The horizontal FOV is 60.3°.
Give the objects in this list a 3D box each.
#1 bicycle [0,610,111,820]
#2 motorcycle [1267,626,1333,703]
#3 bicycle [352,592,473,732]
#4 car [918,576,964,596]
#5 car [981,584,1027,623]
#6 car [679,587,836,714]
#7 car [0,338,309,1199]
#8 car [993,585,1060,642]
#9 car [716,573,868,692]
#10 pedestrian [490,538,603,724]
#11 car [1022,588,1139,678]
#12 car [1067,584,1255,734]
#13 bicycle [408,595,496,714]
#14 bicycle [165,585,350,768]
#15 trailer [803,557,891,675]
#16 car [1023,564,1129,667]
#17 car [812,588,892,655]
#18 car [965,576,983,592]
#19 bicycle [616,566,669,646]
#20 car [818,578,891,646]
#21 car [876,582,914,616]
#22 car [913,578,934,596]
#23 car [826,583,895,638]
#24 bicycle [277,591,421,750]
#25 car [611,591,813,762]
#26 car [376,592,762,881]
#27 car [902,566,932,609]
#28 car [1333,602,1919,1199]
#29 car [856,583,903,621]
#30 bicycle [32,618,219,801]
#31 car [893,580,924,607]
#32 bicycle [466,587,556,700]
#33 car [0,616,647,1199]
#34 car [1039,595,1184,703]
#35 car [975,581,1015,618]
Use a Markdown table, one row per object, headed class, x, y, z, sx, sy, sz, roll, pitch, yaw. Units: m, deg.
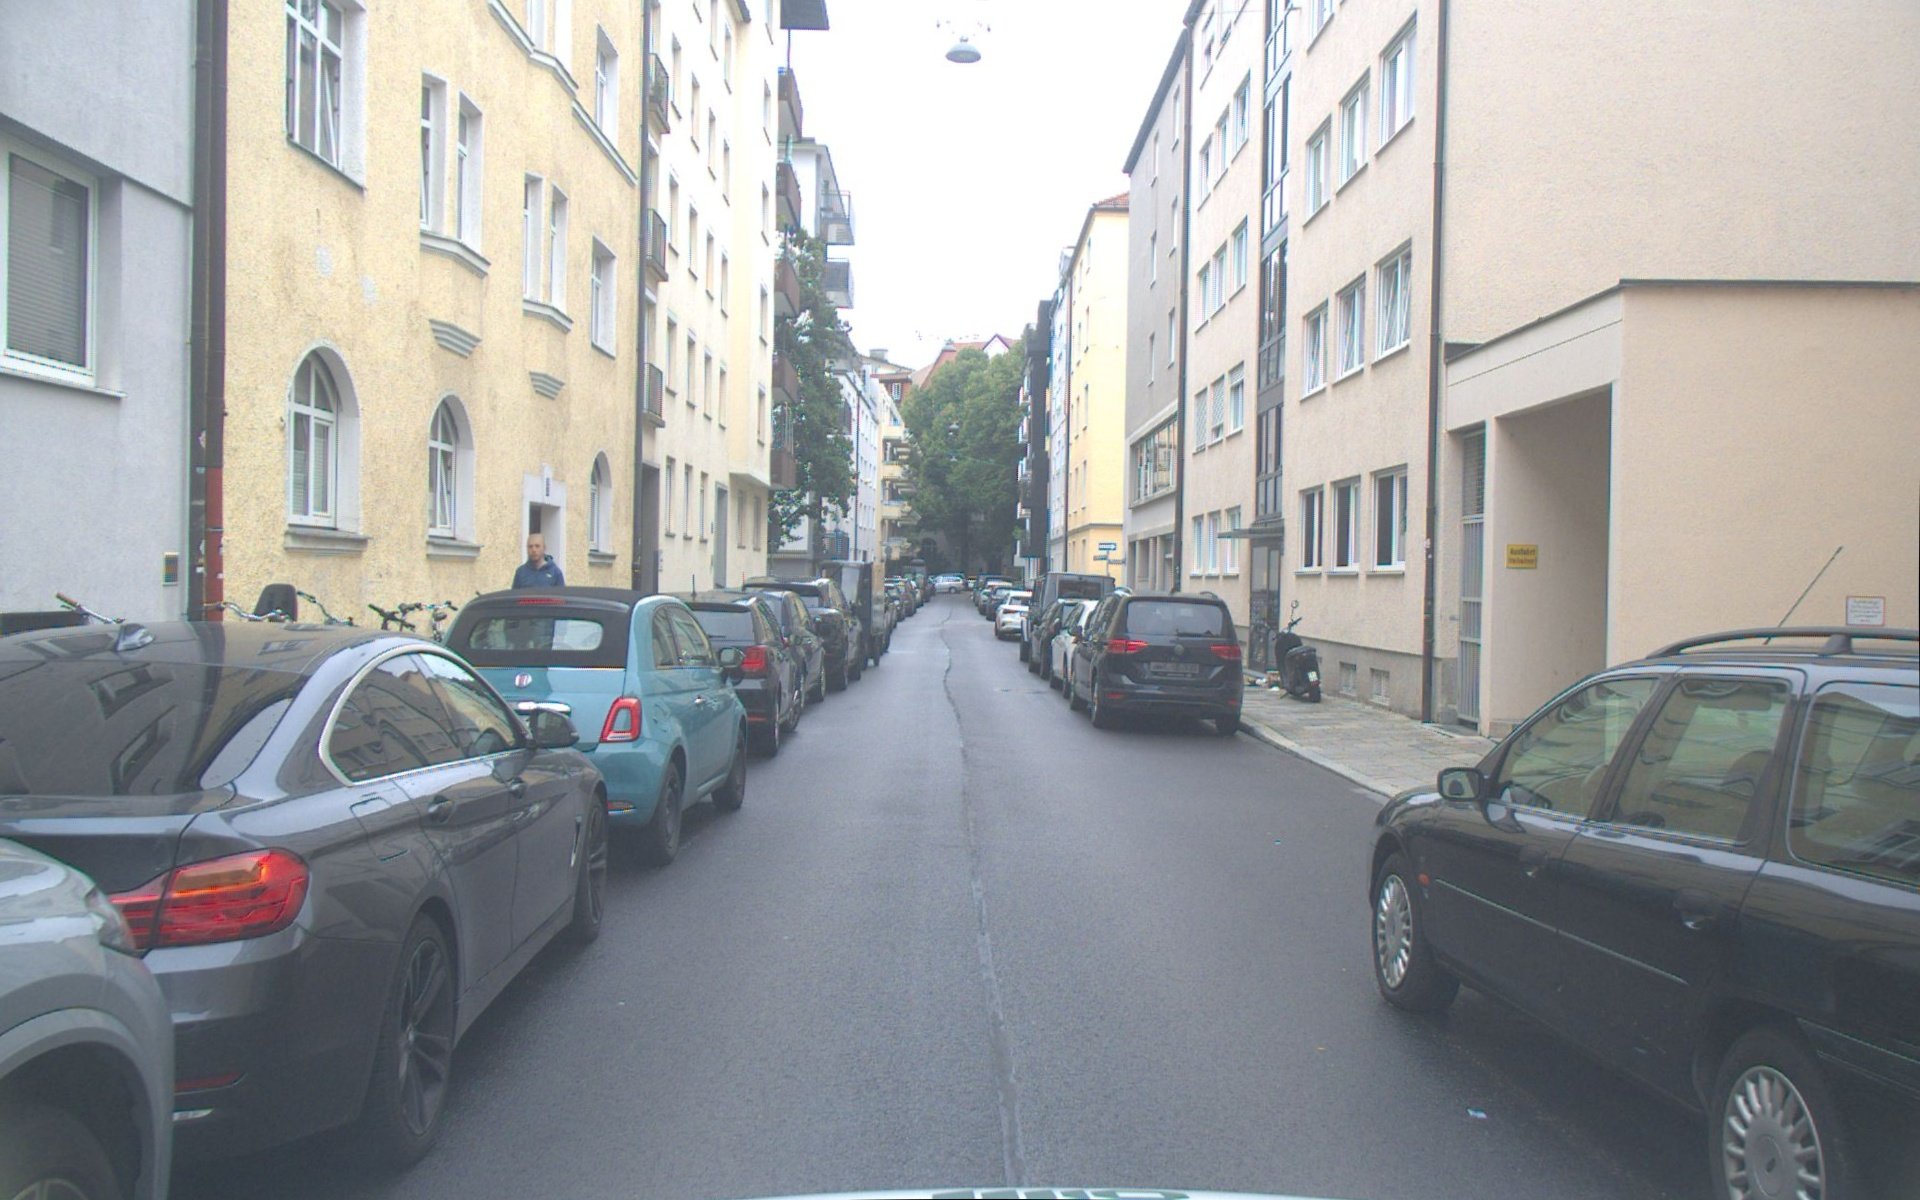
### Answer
| class | x | y | z | sx | sy | sz | roll | pitch | yaw |
| --- | --- | --- | --- | --- | --- | --- | --- | --- | --- |
| bicycle | -5.175 | 0.593 | 8.759 | 0.534 | 1.049 | 1.570 | 2 | 0 | -1 |
| motorcycle | 4.805 | 0.894 | 23.461 | 0.472 | 0.984 | 1.911 | -2 | 0 | -1 |
| bicycle | -5.253 | 0.563 | 15.972 | 0.581 | 1.255 | 1.736 | 2 | 0 | -1 |
| car | -1.621 | -1.217 | 141.213 | 3.807 | 1.612 | 1.647 | -1 | 1 | -2 |
| car | 1.880 | 0.125 | 71.193 | 1.715 | 1.494 | 4.342 | 4 | 1 | -1 |
| car | -2.529 | 0.587 | 21.317 | 1.530 | 1.486 | 3.476 | 1 | 0 | 1 |
| car | -2.092 | 0.600 | 0.788 | 1.825 | 1.800 | 4.734 | -1 | 1 | -2 |
| car | 2.003 | 0.380 | 51.097 | 1.782 | 1.432 | 3.952 | 2 | 3 | -1 |
| car | -2.517 | 0.448 | 25.767 | 1.840 | 1.689 | 4.415 | 1 | 0 | 1 |
| pedestrian | -4.172 | 0.303 | 16.773 | 0.822 | 1.795 | 1.067 | 2 | 0 | -1 |
| car | 2.211 | 0.578 | 31.394 | 1.677 | 1.512 | 4.242 | 2 | 0 | -3 |
| car | 2.427 | 0.671 | 20.957 | 1.677 | 1.636 | 4.242 | 2 | 0 | -2 |
| bicycle | -5.421 | 0.555 | 17.720 | 0.430 | 1.211 | 1.632 | 2 | 0 | -1 |
| bicycle | -5.198 | 0.530 | 12.351 | 0.624 | 1.255 | 1.736 | 2 | 0 | -1 |
| trailer | -2.161 | 0.267 | 32.184 | 1.327 | 2.152 | 3.319 | 1 | 1 | 2 |
| car | 2.460 | 0.276 | 36.124 | 1.716 | 2.009 | 4.341 | 4 | 1 | -3 |
| car | -2.463 | 0.466 | 38.370 | 1.618 | 1.461 | 3.802 | 1 | 0 | 0 |
| car | 1.320 | -1.551 | 158.234 | 1.609 | 1.407 | 3.745 | -1 | 1 | -1 |
| bicycle | -5.435 | 0.102 | 28.361 | 0.582 | 1.301 | 1.551 | 4 | 0 | -2 |
| car | -2.740 | 0.289 | 43.639 | 1.730 | 1.704 | 4.366 | 0 | 0 | -1 |
| car | -2.867 | -0.061 | 73.767 | 1.659 | 1.467 | 3.976 | 0 | 1 | -2 |
| car | -2.864 | -1.055 | 131.252 | 1.609 | 1.407 | 3.482 | -1 | 1 | -1 |
| car | -2.910 | 0.269 | 49.199 | 1.729 | 1.509 | 4.424 | 1 | 1 | 1 |
| bicycle | -5.189 | 0.566 | 14.146 | 0.581 | 1.255 | 1.736 | 2 | 0 | -1 |
| car | -2.333 | 0.660 | 16.335 | 1.531 | 1.486 | 3.762 | 0 | 0 | -2 |
| car | -2.242 | 0.702 | 10.325 | 1.530 | 1.486 | 3.404 | 1 | 0 | 1 |
| car | -2.924 | -0.883 | 112.627 | 1.897 | 2.850 | 4.532 | -1 | 1 | -1 |
| car | 2.584 | 0.801 | 4.825 | 1.683 | 1.497 | 4.528 | 2 | 0 | -3 |
| car | -3.193 | 0.061 | 65.892 | 1.658 | 1.467 | 3.942 | 0 | 1 | 0 |
| bicycle | -5.269 | 0.653 | 10.531 | 0.387 | 1.049 | 1.570 | 2 | 0 | -1 |
| car | -3.037 | -0.400 | 97.993 | 1.740 | 1.478 | 4.046 | -1 | 1 | -1 |
| bicycle | -5.271 | 0.488 | 19.509 | 0.581 | 1.255 | 1.736 | 2 | 0 | -1 |
| car | -2.286 | 0.796 | 5.527 | 1.775 | 1.410 | 4.249 | -1 | 0 | -2 |
| car | 2.319 | 0.707 | 26.341 | 1.677 | 1.512 | 4.242 | 2 | 0 | -3 |
| car | 1.688 | -0.042 | 81.152 | 1.648 | 1.594 | 4.414 | 4 | 1 | -2 |
